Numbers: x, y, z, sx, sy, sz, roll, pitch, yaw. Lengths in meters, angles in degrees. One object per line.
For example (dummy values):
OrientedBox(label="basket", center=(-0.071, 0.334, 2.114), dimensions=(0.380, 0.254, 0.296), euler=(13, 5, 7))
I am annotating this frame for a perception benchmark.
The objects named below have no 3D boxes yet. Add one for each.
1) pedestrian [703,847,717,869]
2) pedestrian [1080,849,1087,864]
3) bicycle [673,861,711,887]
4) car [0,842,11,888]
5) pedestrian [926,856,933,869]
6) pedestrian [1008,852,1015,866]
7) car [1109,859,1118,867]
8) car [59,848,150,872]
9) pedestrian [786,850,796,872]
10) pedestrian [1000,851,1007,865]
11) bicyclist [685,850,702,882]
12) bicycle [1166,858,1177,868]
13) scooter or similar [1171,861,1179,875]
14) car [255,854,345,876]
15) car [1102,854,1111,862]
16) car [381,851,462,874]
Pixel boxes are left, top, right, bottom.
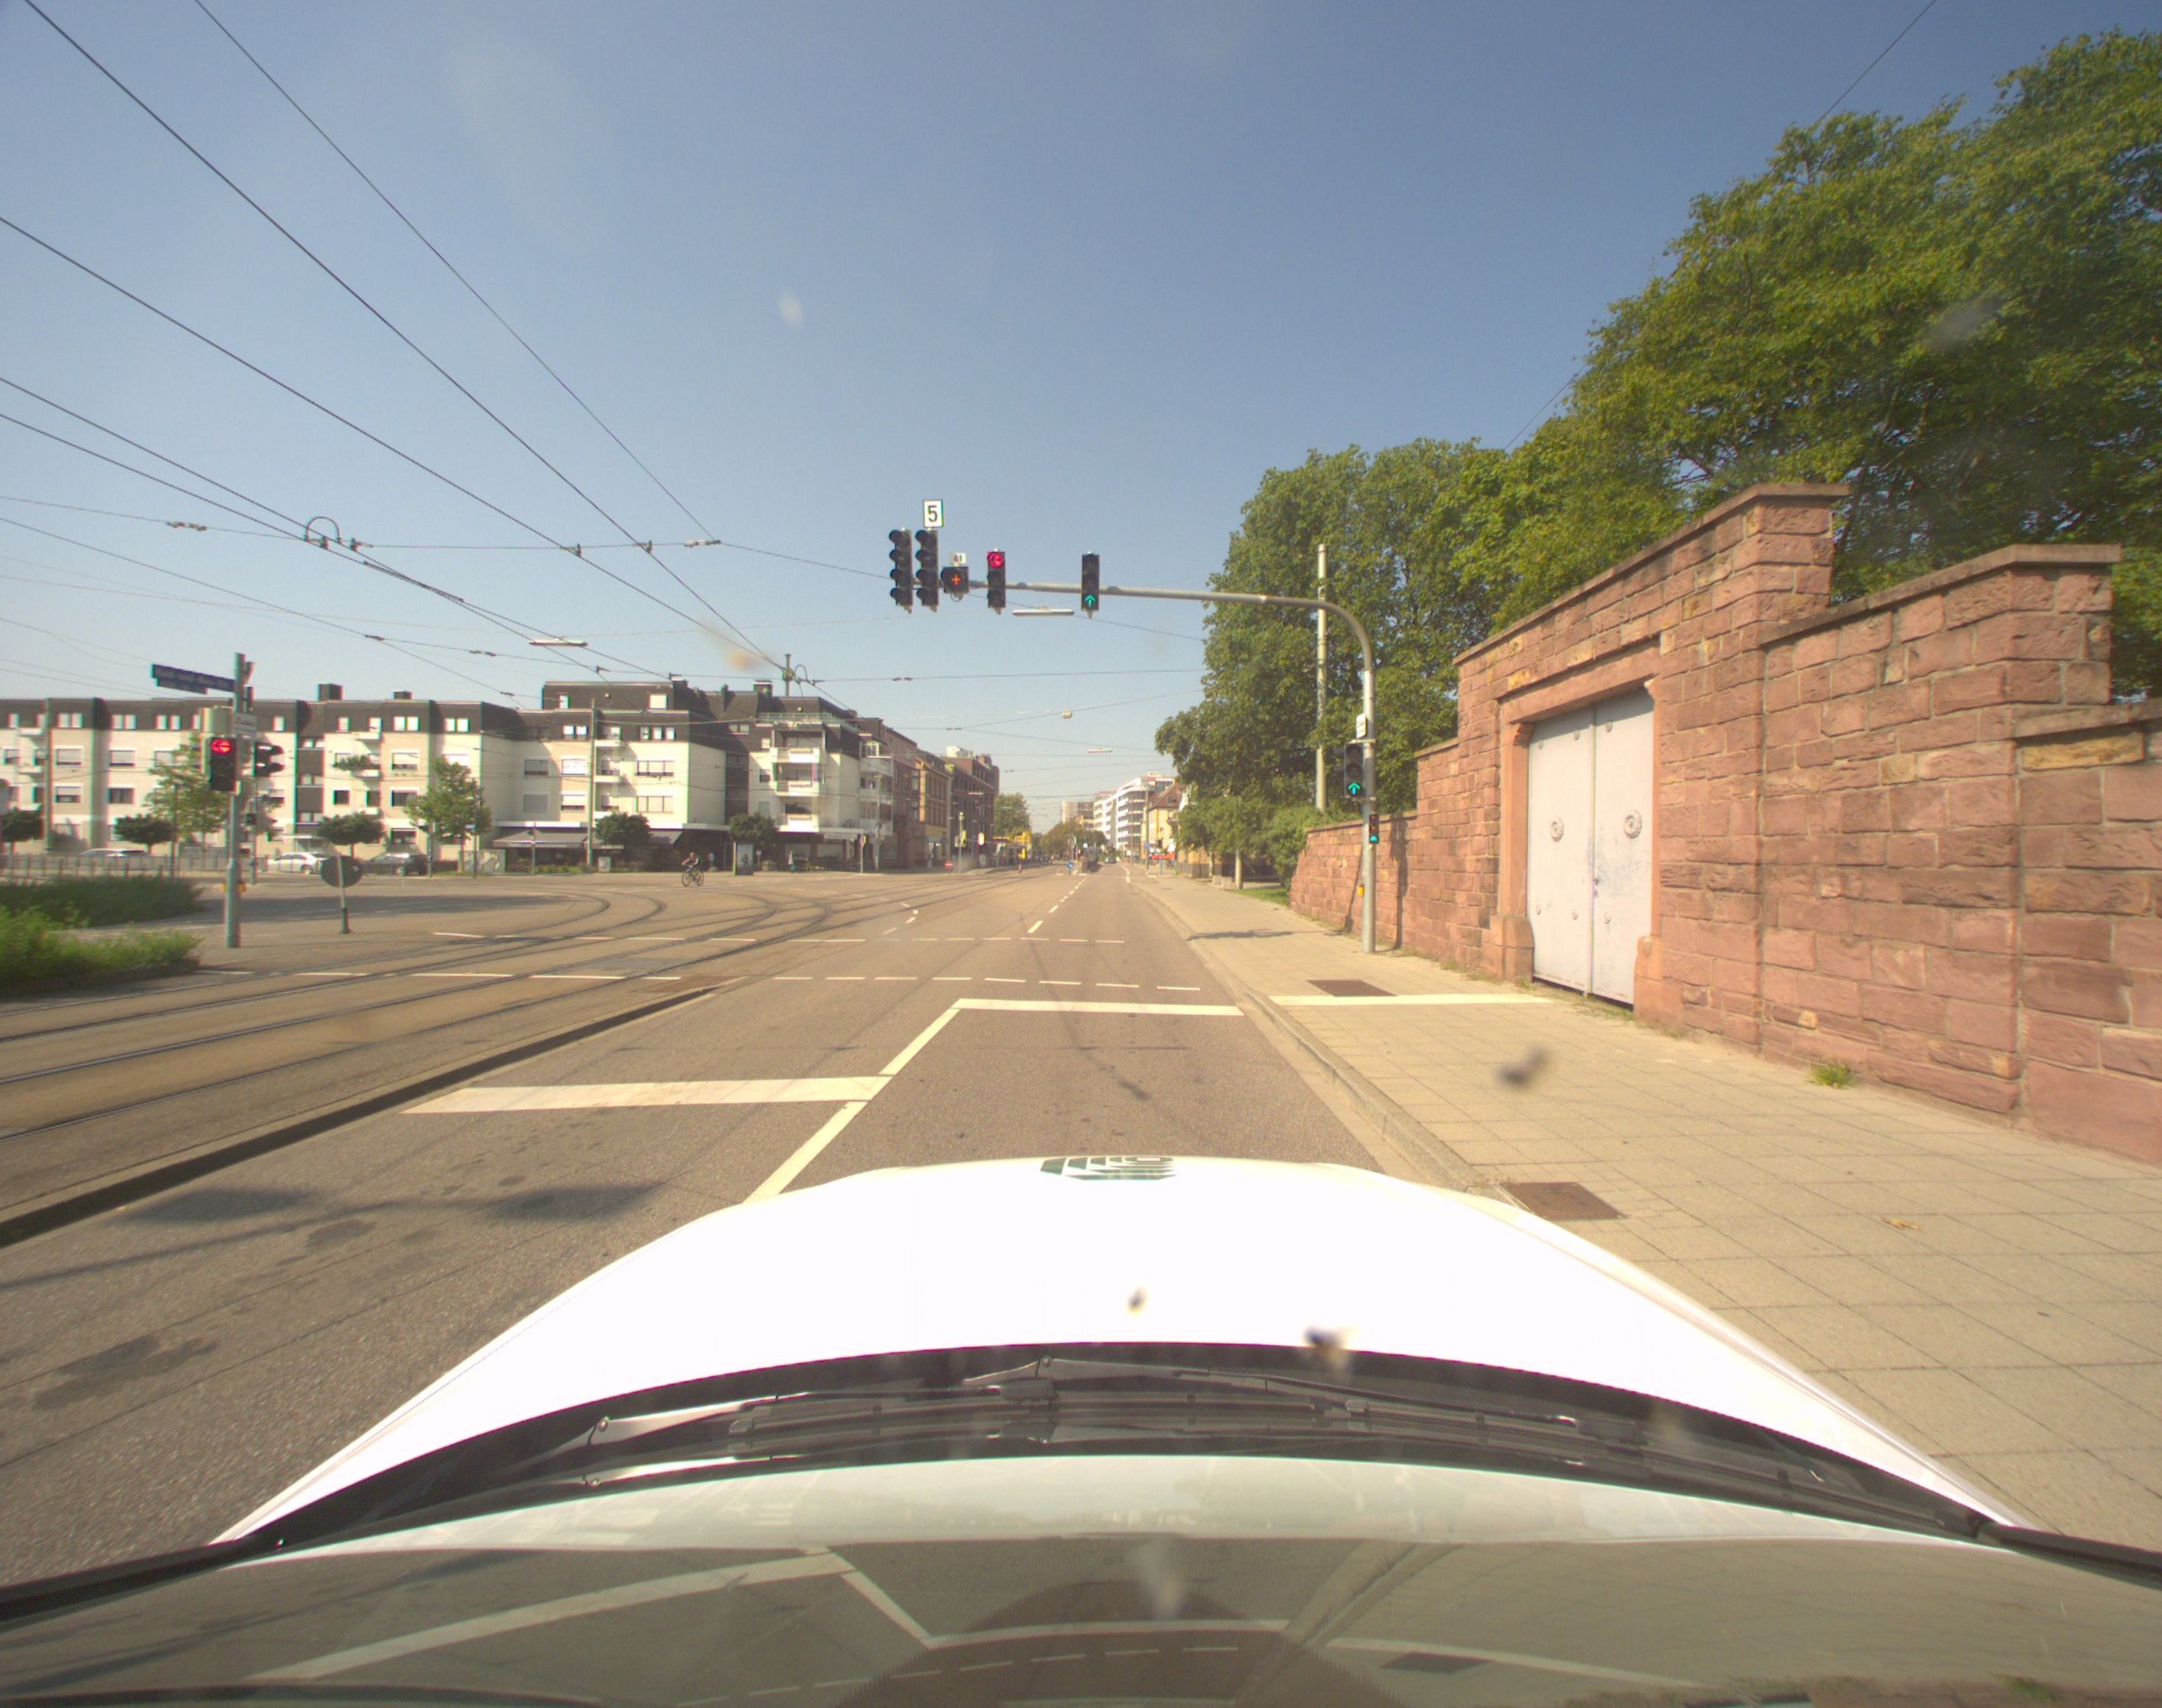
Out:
OrientedBox(label="pedestrian", center=(-29.366, 0.312, 64.466), dimensions=(0.676, 1.741, 0.698), euler=(-1, -1, 3))
OrientedBox(label="pedestrian", center=(0.275, 0.322, 97.039), dimensions=(0.717, 1.703, 0.885), euler=(-1, -1, 3))
OrientedBox(label="bicycle", center=(-18.644, 0.925, 39.080), dimensions=(0.572, 1.179, 2.210), euler=(-1, 0, 4))
OrientedBox(label="car", center=(-46.328, 0.428, 32.886), dimensions=(3.996, 1.886, 1.825), euler=(1, 0, 4))
OrientedBox(label="pedestrian", center=(-17.548, 0.983, 94.335), dimensions=(0.479, 1.560, 0.890), euler=(1, -2, 13))
OrientedBox(label="pedestrian", center=(-9.019, 0.656, 105.910), dimensions=(0.705, 1.747, 0.799), euler=(-1, -1, 3))
OrientedBox(label="car", center=(7.549, 2.127, 189.278), dimensions=(2.003, 1.859, 4.003), euler=(-1, -1, 3))
OrientedBox(label="car", center=(-63.061, 0.389, 52.642), dimensions=(3.891, 1.481, 1.673), euler=(-1, -1, 1))
OrientedBox(label="pedestrian", center=(-22.739, 0.542, 63.897), dimensions=(0.602, 1.745, 0.560), euler=(-1, -1, -31))
OrientedBox(label="pedestrian", center=(-9.363, 0.452, 98.442), dimensions=(0.705, 1.723, 0.799), euler=(-1, -1, 3))
OrientedBox(label="bicyclist", center=(-18.647, 0.596, 39.178), dimensions=(0.565, 1.523, 0.490), euler=(-1, -1, 3))
OrientedBox(label="bicycle", center=(11.024, 1.130, 98.877), dimensions=(0.730, 1.133, 2.834), euler=(-3, 0, -5))
OrientedBox(label="scooter or similar", center=(7.796, 1.159, 67.773), dimensions=(0.521, 1.133, 1.512), euler=(-1, -1, 3))
OrientedBox(label="car", center=(-49.829, 0.711, 52.012), dimensions=(4.094, 1.299, 1.673), euler=(-1, -1, 1))
OrientedBox(label="car", center=(6.226, 0.997, 195.573), dimensions=(2.003, 1.859, 4.003), euler=(-1, -1, 3))
OrientedBox(label="car", center=(-46.859, 0.594, 57.908), dimensions=(4.094, 1.507, 1.930), euler=(2, -1, 1))
